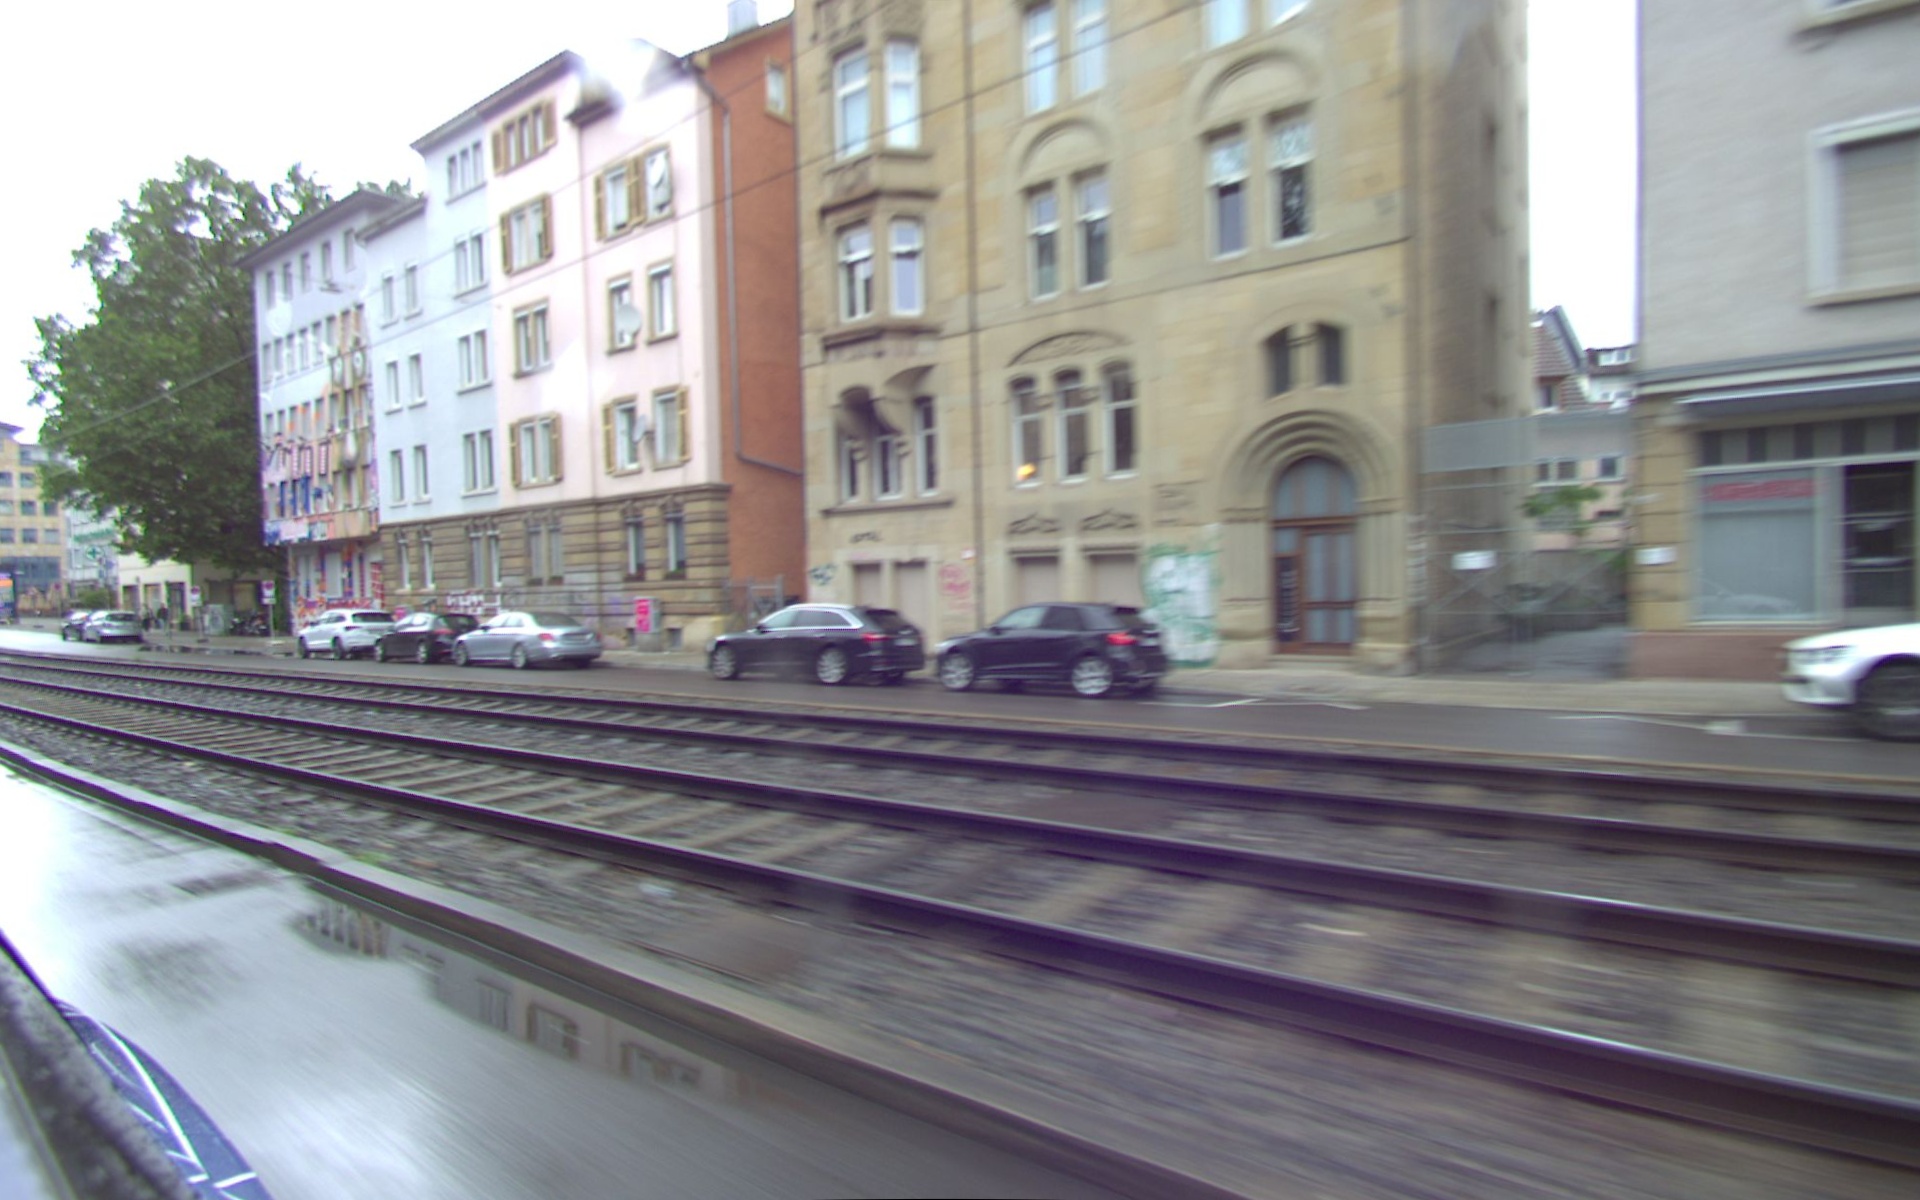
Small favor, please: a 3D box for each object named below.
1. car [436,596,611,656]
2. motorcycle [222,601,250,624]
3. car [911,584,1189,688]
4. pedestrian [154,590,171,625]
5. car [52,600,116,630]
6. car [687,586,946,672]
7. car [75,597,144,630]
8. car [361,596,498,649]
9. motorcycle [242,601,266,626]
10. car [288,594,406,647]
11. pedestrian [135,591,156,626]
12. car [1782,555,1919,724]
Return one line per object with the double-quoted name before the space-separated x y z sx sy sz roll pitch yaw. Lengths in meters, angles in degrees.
"car" -11.269 0.648 25.973 5.015 1.408 1.974 -1 -2 38
"motorcycle" -37.429 0.643 52.319 2.562 1.154 0.467 -1 1 38
"car" 1.371 0.549 16.226 4.163 1.467 1.720 0 -2 37
"pedestrian" -43.960 0.418 55.769 0.536 1.883 0.643 -1 0 41
"car" -46.323 0.787 53.505 4.222 1.553 1.820 -1 -1 38
"car" -2.842 0.540 19.437 5.013 1.467 1.975 0 -2 37
"car" -42.404 0.659 50.417 4.222 1.553 1.820 -1 -1 38
"car" -15.292 0.623 29.130 4.258 1.408 1.822 -1 -1 36
"motorcycle" -35.171 0.663 50.406 2.015 1.190 0.432 -1 1 38
"car" -19.903 0.637 32.815 4.220 1.617 1.822 -1 -1 36
"pedestrian" -44.438 0.457 55.199 0.536 1.883 0.799 -1 0 41
"car" 10.558 0.378 9.150 4.741 1.548 1.975 0 -2 37
